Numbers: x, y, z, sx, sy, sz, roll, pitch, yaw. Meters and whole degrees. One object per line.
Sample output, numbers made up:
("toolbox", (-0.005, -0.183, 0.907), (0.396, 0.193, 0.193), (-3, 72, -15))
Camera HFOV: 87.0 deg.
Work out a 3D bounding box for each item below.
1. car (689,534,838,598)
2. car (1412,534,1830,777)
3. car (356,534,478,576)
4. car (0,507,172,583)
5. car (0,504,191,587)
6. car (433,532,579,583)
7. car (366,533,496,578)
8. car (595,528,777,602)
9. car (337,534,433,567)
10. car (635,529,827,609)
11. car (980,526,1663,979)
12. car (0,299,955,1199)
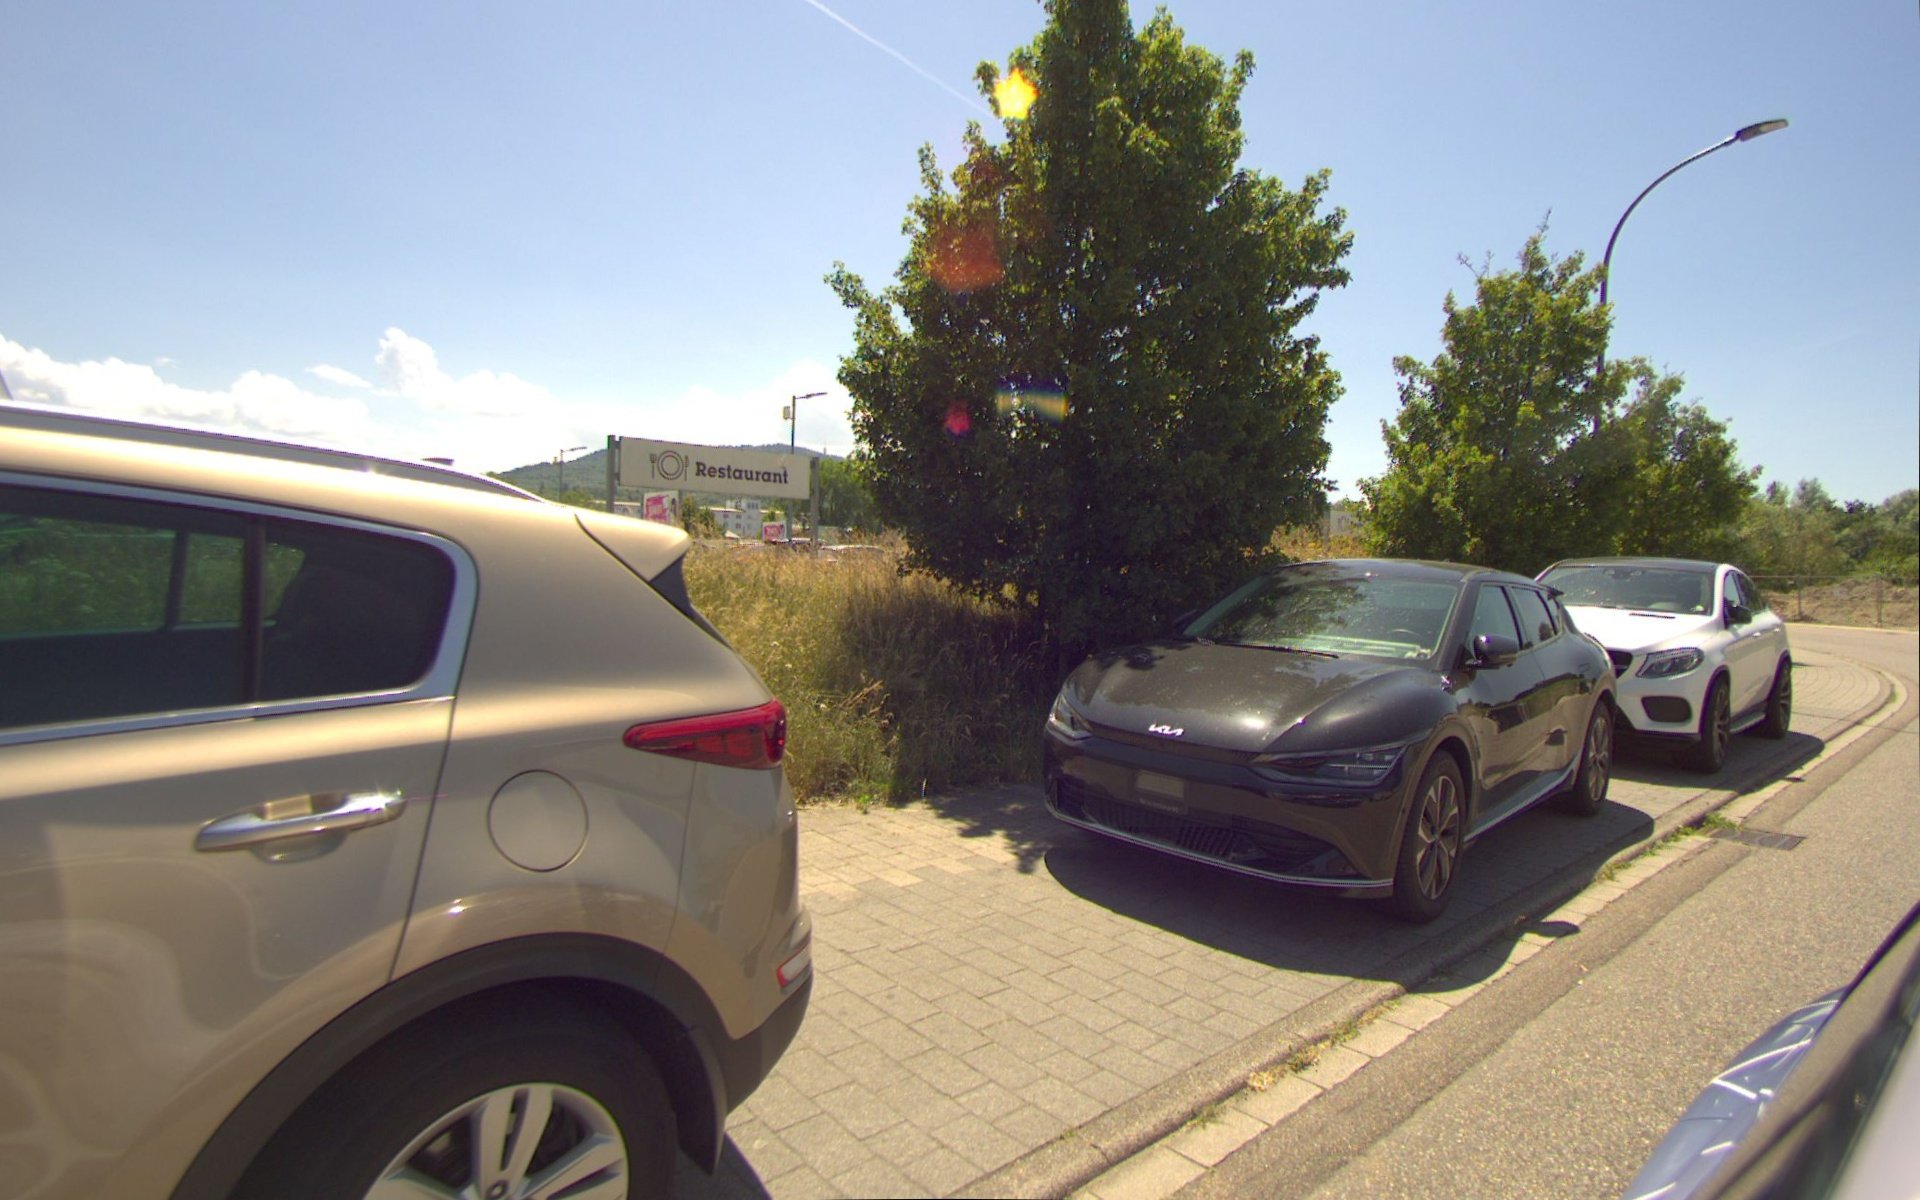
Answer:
("car", (-6.404, -1.084, 33.242), (4.325, 1.873, 1.997), (1, 2, -42))
("car", (6.476, 0.330, 9.679), (4.703, 1.719, 2.148), (-1, 4, -42))
("car", (-23.597, -1.960, 44.061), (4.325, 1.601, 1.997), (1, 2, -42))
("car", (-23.629, -1.449, 26.700), (4.325, 1.808, 1.997), (1, 2, -42))
("car", (-21.558, -1.316, 24.648), (4.325, 1.808, 1.997), (1, 2, -42))
("car", (-16.113, -1.502, 36.030), (4.325, 1.601, 1.997), (1, 2, -42))
("car", (-21.512, -1.790, 41.269), (4.325, 1.601, 1.997), (1, 2, -42))
("car", (-7.408, -0.922, 27.569), (4.325, 1.808, 1.997), (1, 2, -42))
("car", (-31.872, -2.717, 56.157), (4.325, 1.601, 1.997), (1, 2, -42))
("car", (-5.766, -0.762, 25.773), (4.325, 1.808, 1.997), (1, 2, -42))
("car", (2.385, 0.454, 5.807), (1.905, 1.547, 4.556), (5, 4, 44))
("car", (-2.257, 0.430, 1.362), (4.382, 1.655, 1.808), (-1, 4, -42))
